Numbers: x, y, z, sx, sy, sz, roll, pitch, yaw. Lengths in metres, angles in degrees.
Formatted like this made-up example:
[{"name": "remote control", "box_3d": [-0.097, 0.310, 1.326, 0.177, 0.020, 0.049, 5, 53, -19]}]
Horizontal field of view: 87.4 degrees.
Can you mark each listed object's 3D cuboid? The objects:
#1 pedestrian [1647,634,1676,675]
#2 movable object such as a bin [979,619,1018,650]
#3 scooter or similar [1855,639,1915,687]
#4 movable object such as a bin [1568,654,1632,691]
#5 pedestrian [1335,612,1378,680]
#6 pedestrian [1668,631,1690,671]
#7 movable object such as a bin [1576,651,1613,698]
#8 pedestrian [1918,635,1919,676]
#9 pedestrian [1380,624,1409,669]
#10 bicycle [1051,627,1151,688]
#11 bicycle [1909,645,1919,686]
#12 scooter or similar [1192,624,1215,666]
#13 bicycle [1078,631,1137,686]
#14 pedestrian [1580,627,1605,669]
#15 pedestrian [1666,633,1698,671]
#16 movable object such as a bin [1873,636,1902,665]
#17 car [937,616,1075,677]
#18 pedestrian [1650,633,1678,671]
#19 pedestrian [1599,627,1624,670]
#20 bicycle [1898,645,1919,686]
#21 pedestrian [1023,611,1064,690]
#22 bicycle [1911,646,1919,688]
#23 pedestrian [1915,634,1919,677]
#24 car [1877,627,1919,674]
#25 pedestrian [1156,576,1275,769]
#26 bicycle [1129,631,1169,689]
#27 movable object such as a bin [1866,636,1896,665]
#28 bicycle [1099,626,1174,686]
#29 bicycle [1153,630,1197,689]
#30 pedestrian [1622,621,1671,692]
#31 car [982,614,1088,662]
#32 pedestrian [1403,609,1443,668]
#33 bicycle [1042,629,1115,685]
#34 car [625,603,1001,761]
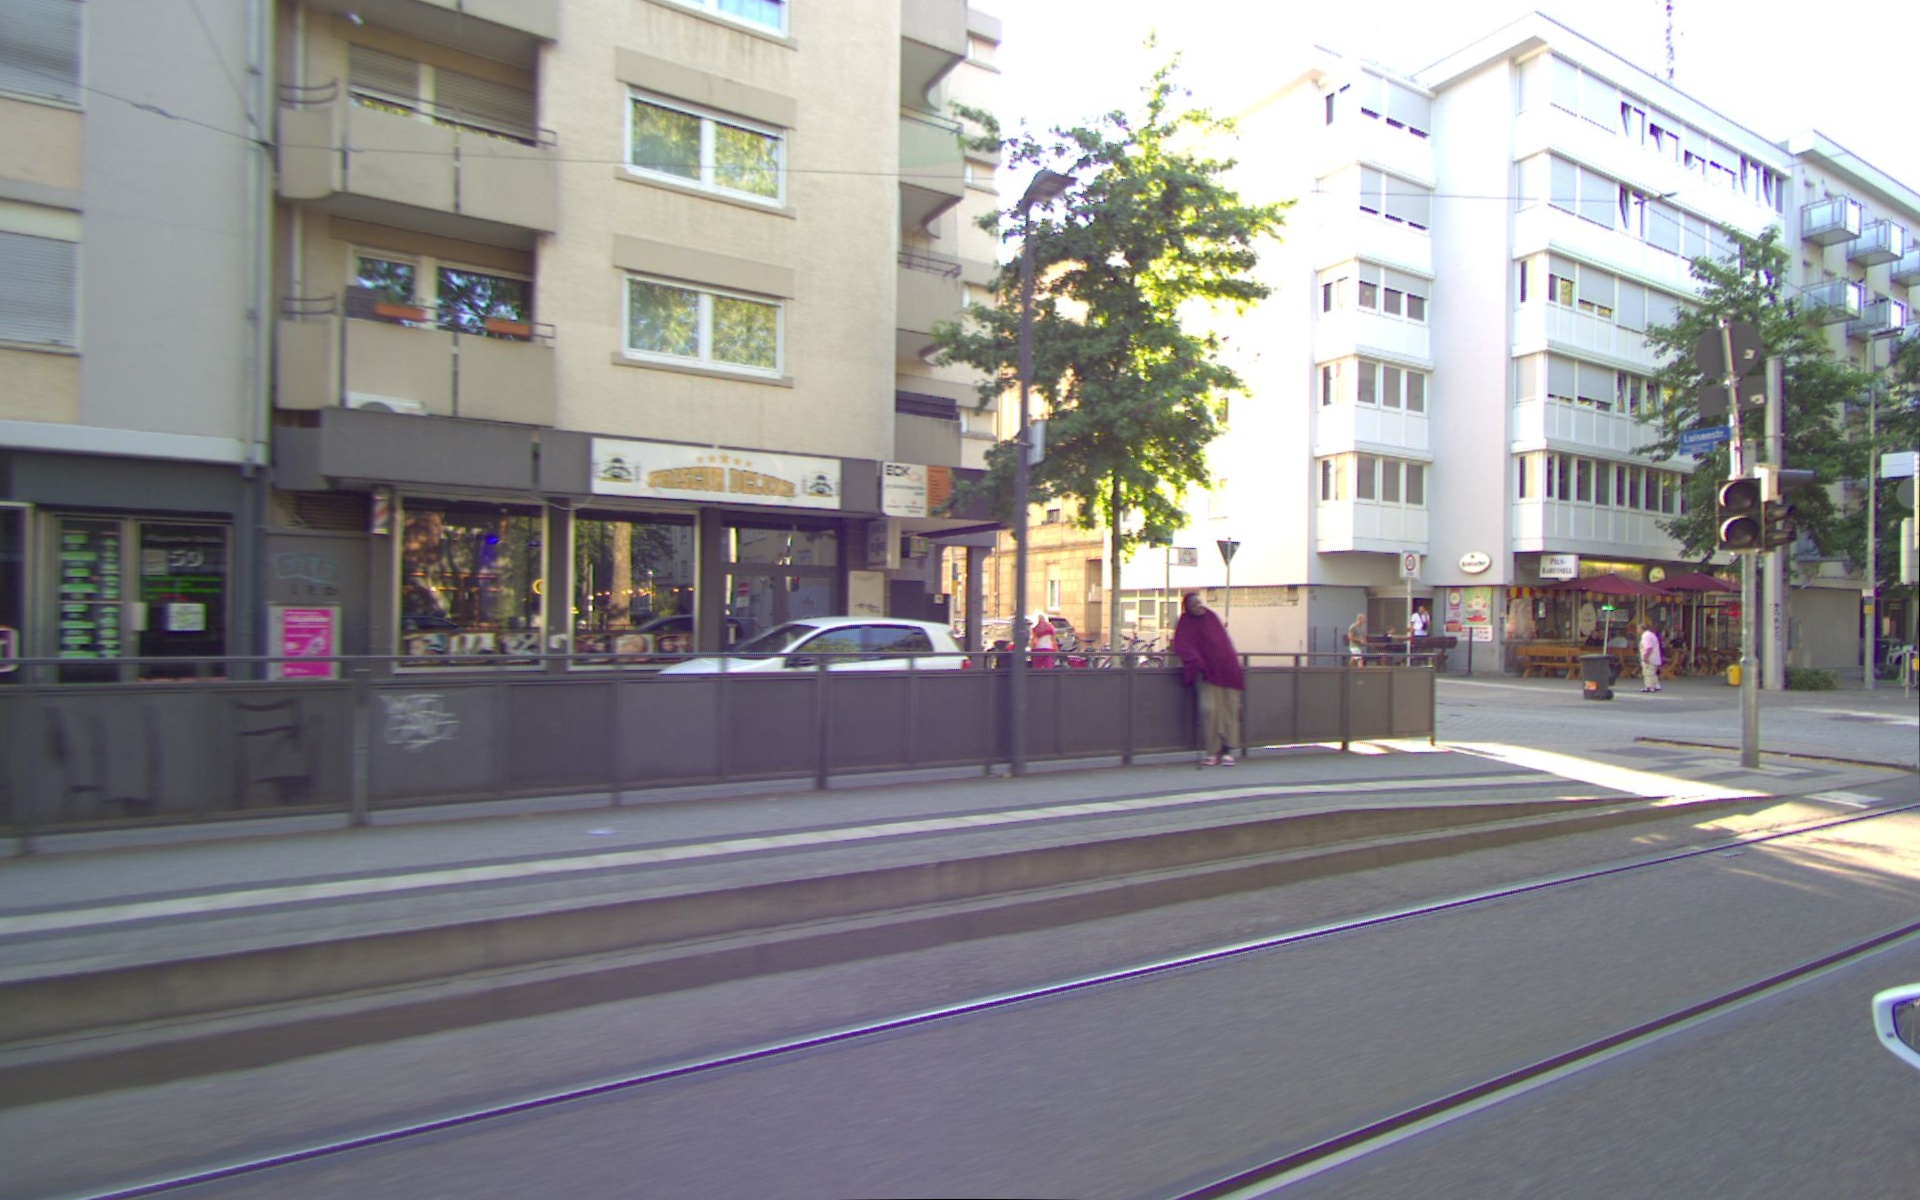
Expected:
[{"name": "pedestrian", "box_3d": [21.212, 1.638, 30.373, 0.591, 1.214, 0.691, 0, -1, 25]}, {"name": "movable object such as a bin", "box_3d": [1.675, 1.487, 43.534, 0.702, 1.267, 2.101, 1, -1, -29]}, {"name": "scooter or similar", "box_3d": [24.481, 1.652, 26.594, 0.492, 1.192, 1.074, 2, 0, -31]}, {"name": "movable object such as a bin", "box_3d": [14.927, 1.669, 23.439, 1.178, 0.767, 0.663, 1, 0, 39]}, {"name": "pedestrian", "box_3d": [10.121, 1.172, 25.646, 0.761, 1.693, 0.752, 1, -1, -36]}, {"name": "pedestrian", "box_3d": [21.990, 1.544, 30.740, 0.504, 1.214, 0.562, 0, -1, 31]}, {"name": "movable object such as a bin", "box_3d": [13.174, 1.541, 20.857, 0.533, 0.944, 0.646, 0, -1, 43]}, {"name": "pedestrian", "box_3d": [30.990, 1.764, 31.965, 0.906, 1.314, 0.705, 2, -1, -44]}, {"name": "pedestrian", "box_3d": [12.422, 1.316, 28.729, 0.735, 1.258, 0.768, 0, -1, 26]}, {"name": "bicycle", "box_3d": [2.849, 1.139, 20.441, 2.006, 1.172, 0.570, 0, -1, 38]}, {"name": "bicycle", "box_3d": [25.223, 1.696, 25.304, 0.651, 1.020, 1.817, 2, 0, -34]}, {"name": "scooter or similar", "box_3d": [7.693, 1.412, 31.709, 0.489, 1.276, 1.306, 0, -1, 24]}, {"name": "bicycle", "box_3d": [3.309, 1.290, 22.706, 0.563, 1.172, 1.782, 1, -1, -19]}, {"name": "pedestrian", "box_3d": [18.596, 1.416, 29.550, 0.553, 1.214, 0.513, 0, -1, 25]}, {"name": "pedestrian", "box_3d": [23.714, 1.701, 33.006, 0.648, 1.214, 0.669, 1, -1, -31]}, {"name": "movable object such as a bin", "box_3d": [35.483, 1.922, 38.424, 0.567, 1.069, 0.669, 1, -1, -28]}, {"name": "car", "box_3d": [1.188, 1.224, 27.828, 1.872, 1.524, 4.261, 1, -1, -29]}, {"name": "pedestrian", "box_3d": [22.644, 1.661, 32.314, 0.617, 1.214, 0.559, 1, -1, -31]}, {"name": "pedestrian", "box_3d": [18.645, 1.383, 28.760, 0.506, 1.214, 0.560, 0, -1, 44]}, {"name": "bicycle", "box_3d": [24.804, 1.683, 25.159, 0.651, 1.020, 1.817, 2, 0, -34]}, {"name": "pedestrian", "box_3d": [1.704, 1.015, 20.497, 0.711, 1.577, 0.728, 0, -1, 14]}, {"name": "bicycle", "box_3d": [23.845, 1.644, 23.885, 0.651, 1.020, 1.680, 2, 0, -34]}, {"name": "pedestrian", "box_3d": [30.071, 1.730, 31.101, 0.742, 1.314, 0.705, 2, -1, -44]}, {"name": "car", "box_3d": [32.868, 1.710, 32.775, 1.829, 1.495, 3.995, 2, 0, -29]}, {"name": "pedestrian", "box_3d": [2.242, 0.617, 8.832, 0.763, 1.606, 0.651, 1, -1, -30]}, {"name": "bicycle", "box_3d": [4.087, 1.281, 21.809, 0.561, 1.172, 1.790, 1, -1, 1]}, {"name": "movable object such as a bin", "box_3d": [34.939, 1.916, 38.104, 0.614, 1.069, 0.675, 1, -1, -28]}, {"name": "bicycle", "box_3d": [3.637, 1.131, 20.847, 0.564, 1.172, 1.853, 1, -1, -25]}, {"name": "bicycle", "box_3d": [4.505, 1.223, 21.109, 0.561, 1.172, 1.790, 1, -1, 1]}, {"name": "pedestrian", "box_3d": [15.668, 1.283, 22.928, 0.761, 1.577, 0.720, 1, -1, -36]}, {"name": "car", "box_3d": [2.585, 1.302, 35.601, 1.868, 1.602, 3.968, 1, -1, -30]}, {"name": "pedestrian", "box_3d": [13.397, 1.118, 29.078, 0.756, 1.681, 0.747, 1, -1, -15]}, {"name": "bicycle", "box_3d": [2.612, 1.248, 22.320, 0.567, 1.172, 1.771, 1, -1, -36]}, {"name": "car", "box_3d": [-1.776, 0.938, 12.586, 4.309, 1.673, 1.868, 1, -2, -32]}]
